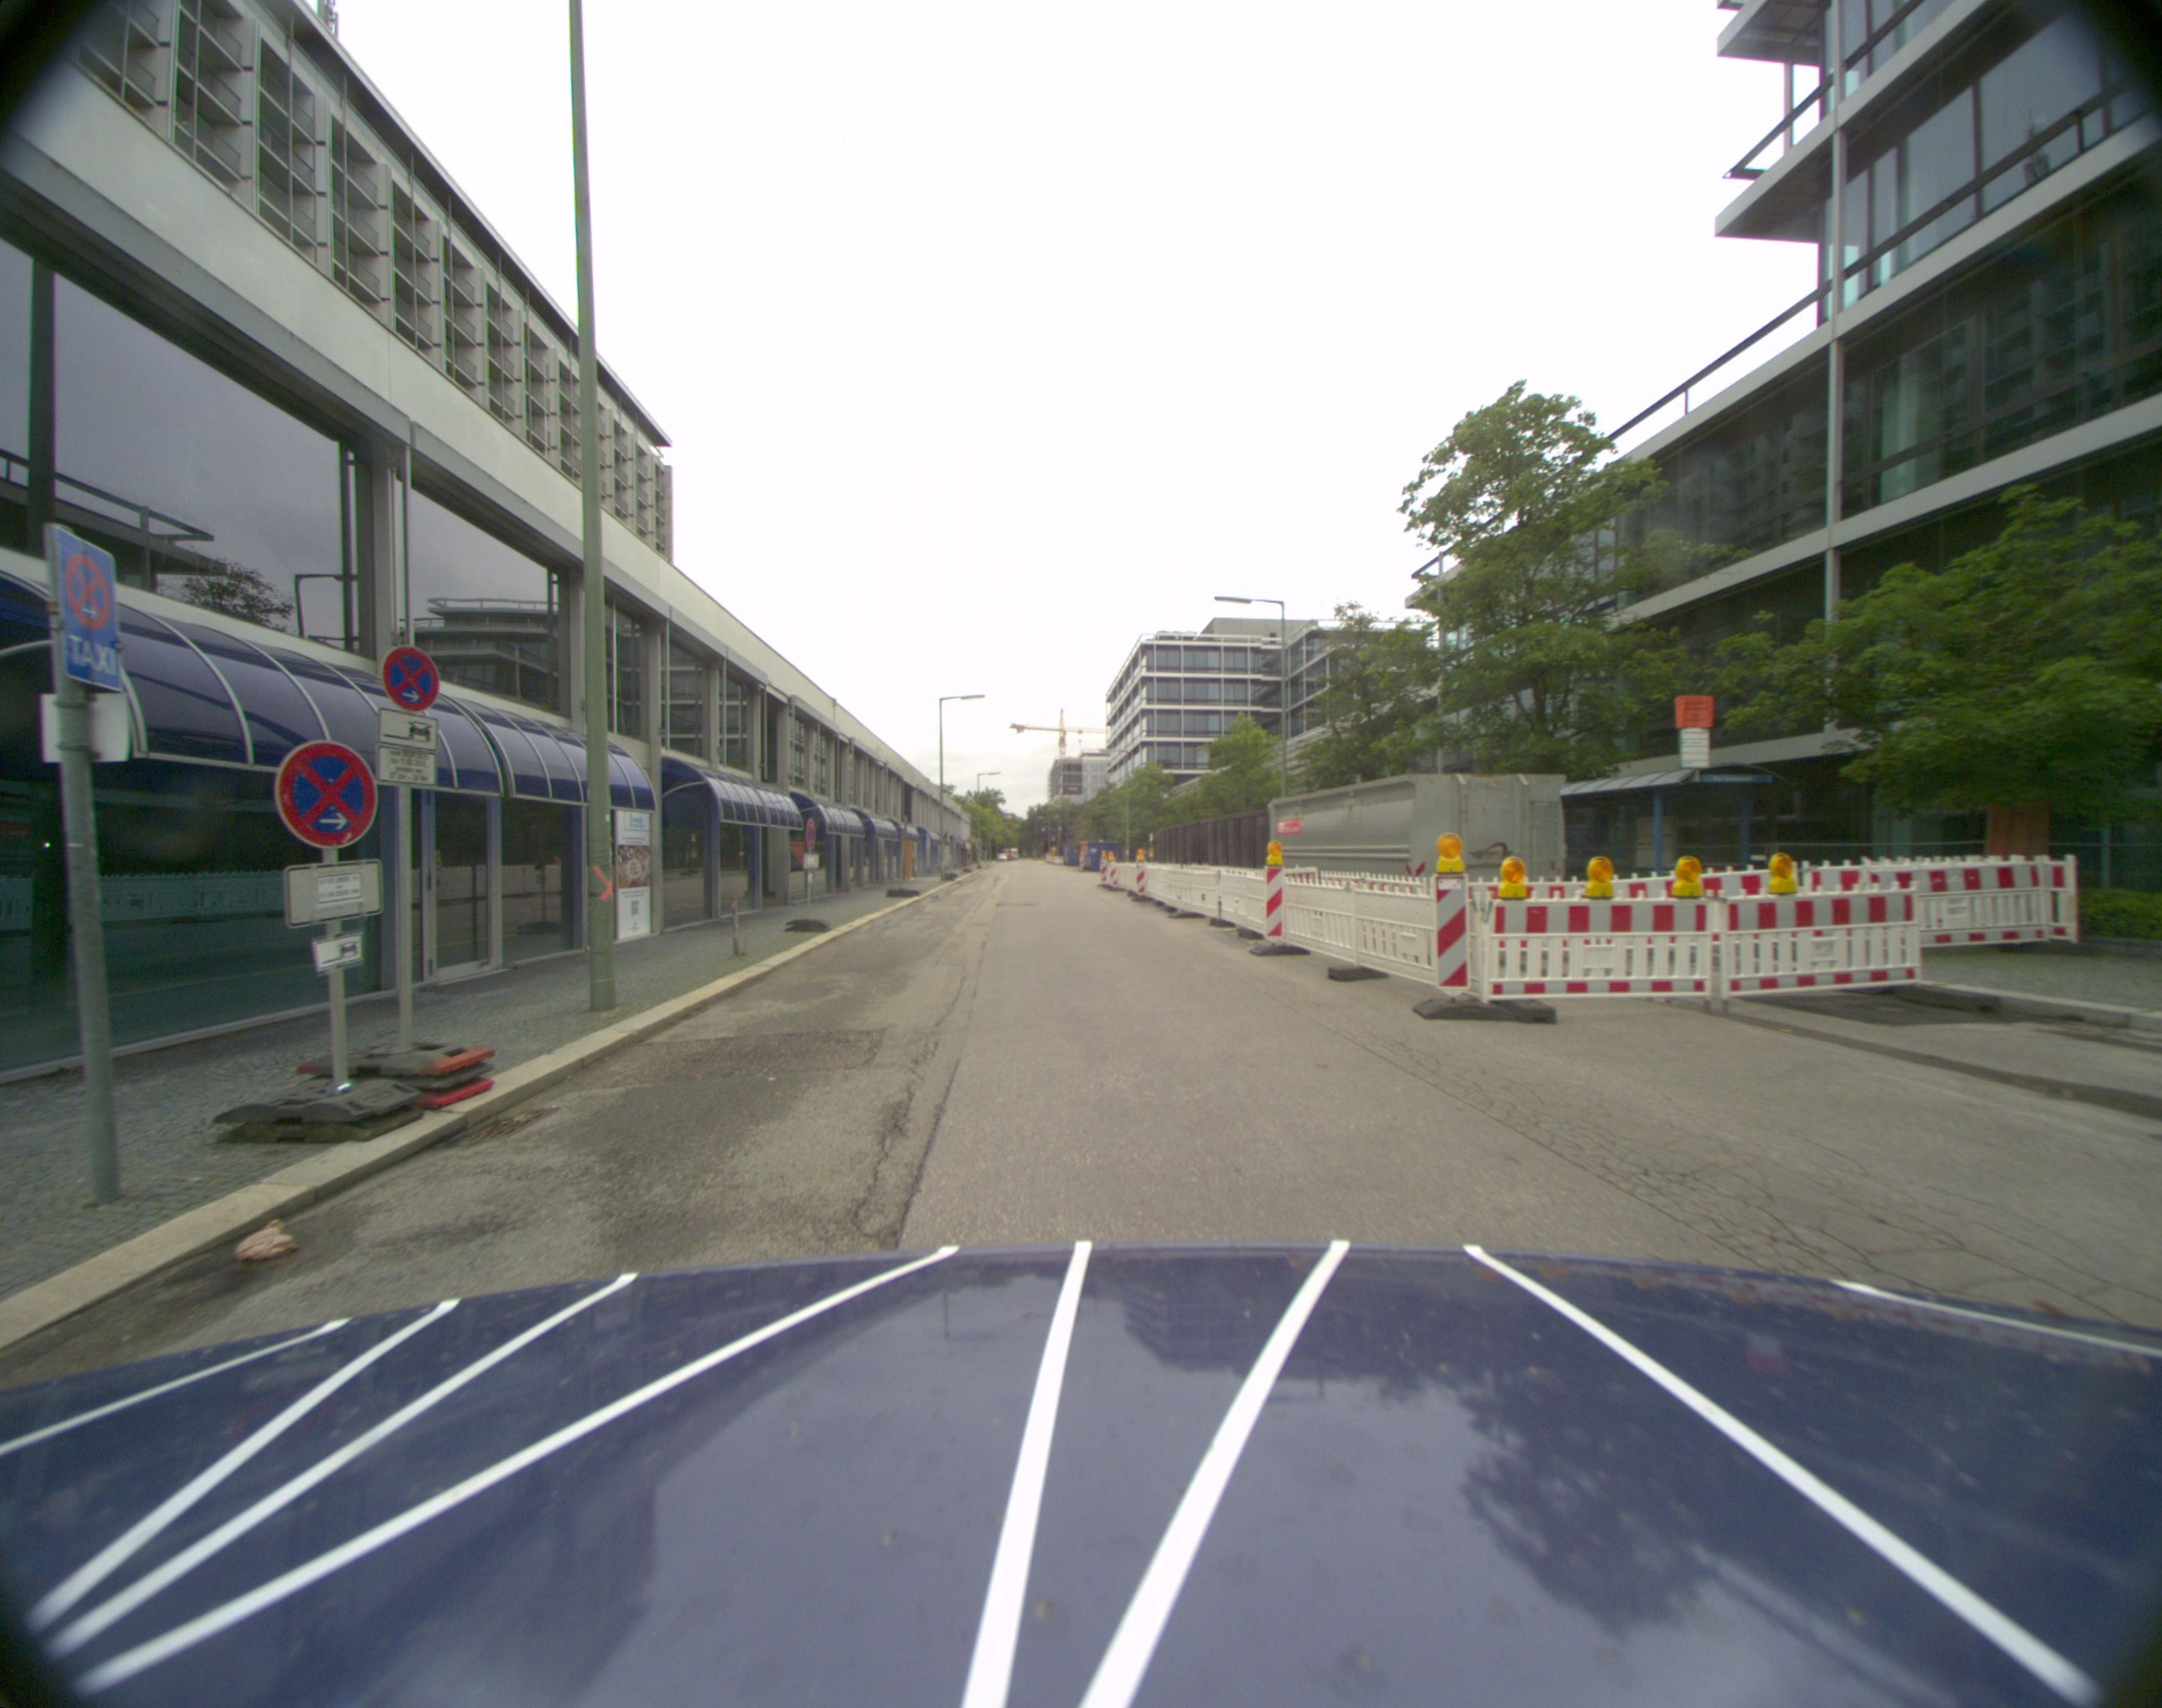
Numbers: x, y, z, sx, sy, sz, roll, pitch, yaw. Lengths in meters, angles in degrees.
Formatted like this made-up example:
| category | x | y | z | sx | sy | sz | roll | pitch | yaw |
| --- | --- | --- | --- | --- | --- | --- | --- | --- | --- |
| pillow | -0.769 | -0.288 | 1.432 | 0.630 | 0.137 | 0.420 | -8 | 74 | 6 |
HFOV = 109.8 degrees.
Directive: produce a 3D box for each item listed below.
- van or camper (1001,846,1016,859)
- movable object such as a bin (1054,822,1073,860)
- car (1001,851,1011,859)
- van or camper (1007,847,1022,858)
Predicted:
| category | x | y | z | sx | sy | sz | roll | pitch | yaw |
| --- | --- | --- | --- | --- | --- | --- | --- | --- | --- |
| van or camper | -15.514 | -0.385 | 162.626 | 2.667 | 2.751 | 6.913 | 0 | 0 | -1 |
| movable object such as a bin | -3.075 | -2.201 | 131.287 | 3.243 | 6.285 | 8.333 | 0 | 0 | -2 |
| car | -15.396 | 0.220 | 156.347 | 1.913 | 1.627 | 3.998 | 0 | 0 | -3 |
| van or camper | -15.466 | -0.353 | 176.976 | 2.667 | 2.436 | 6.445 | 0 | 0 | 1 |
